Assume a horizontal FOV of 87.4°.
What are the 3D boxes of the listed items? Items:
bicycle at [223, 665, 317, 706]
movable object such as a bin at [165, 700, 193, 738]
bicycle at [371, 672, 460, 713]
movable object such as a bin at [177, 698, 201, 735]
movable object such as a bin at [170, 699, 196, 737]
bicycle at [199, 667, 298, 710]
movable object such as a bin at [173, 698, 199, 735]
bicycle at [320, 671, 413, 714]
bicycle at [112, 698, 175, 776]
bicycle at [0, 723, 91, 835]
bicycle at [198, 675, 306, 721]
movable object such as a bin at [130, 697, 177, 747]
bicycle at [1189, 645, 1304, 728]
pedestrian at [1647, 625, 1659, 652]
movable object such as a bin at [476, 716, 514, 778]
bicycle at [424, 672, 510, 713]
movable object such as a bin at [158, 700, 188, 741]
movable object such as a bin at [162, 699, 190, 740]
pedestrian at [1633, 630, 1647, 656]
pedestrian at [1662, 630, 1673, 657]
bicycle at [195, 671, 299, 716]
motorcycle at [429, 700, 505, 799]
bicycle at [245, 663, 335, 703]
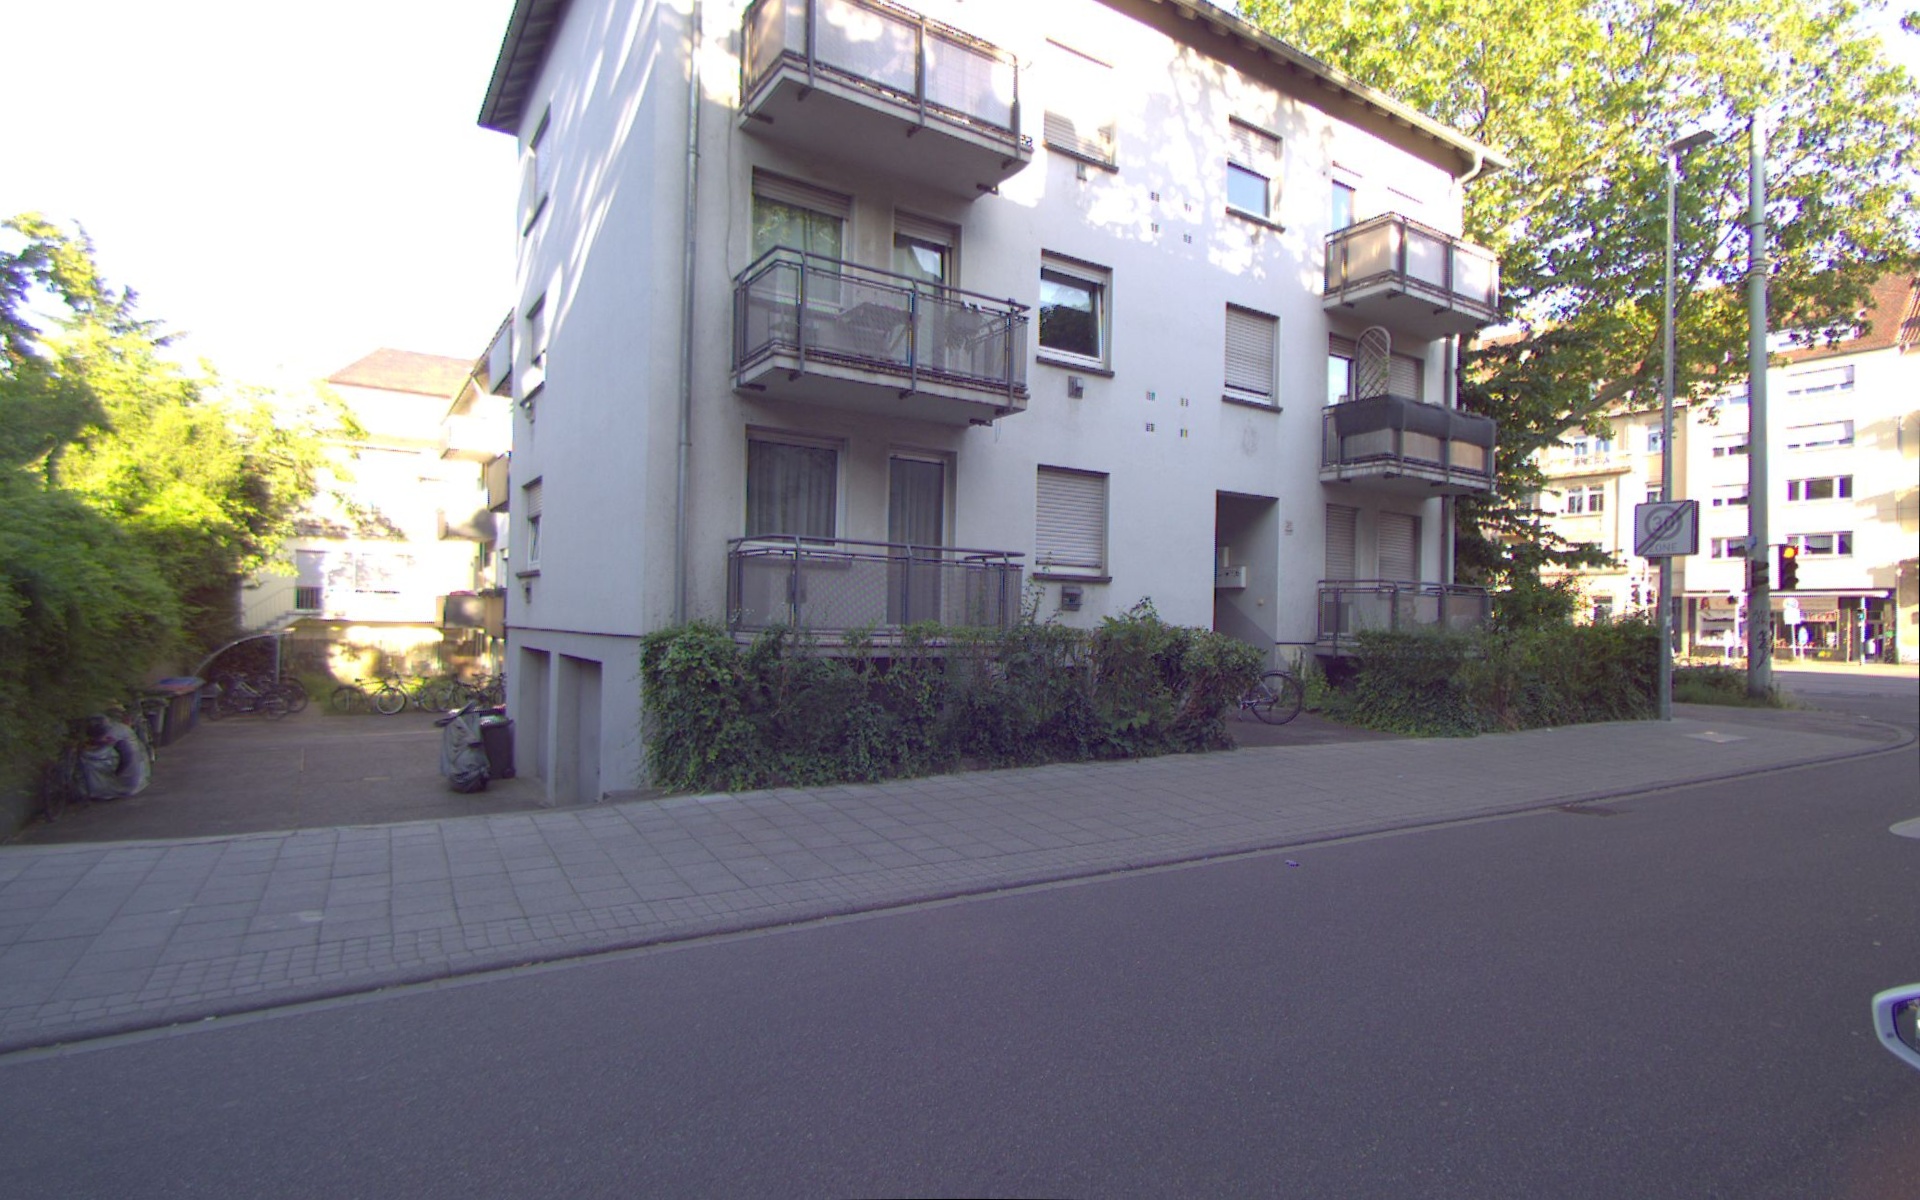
[{"bbox_3d":[-18.993,2.357,27.699,2.045,1.034,0.611,4,0,-30],"label":"bicycle"},{"bbox_3d":[-16.023,2.436,20.607,0.371,0.768,0.361,2,-4,-30],"label":"movable object such as a bin"},{"bbox_3d":[-14.728,2.508,27.205,2.045,1.034,0.637,4,0,-30],"label":"bicycle"},{"bbox_3d":[-16.602,2.498,21.630,0.342,0.768,0.361,2,-4,-30],"label":"movable object such as a bin"},{"bbox_3d":[-16.207,2.449,20.951,0.362,0.768,0.361,2,-4,-30],"label":"movable object such as a bin"},{"bbox_3d":[-18.858,2.356,26.661,2.045,1.034,0.611,4,0,-30],"label":"bicycle"},{"bbox_3d":[-16.401,2.461,21.292,0.362,0.768,0.361,2,-4,-30],"label":"movable object such as a bin"},{"bbox_3d":[-15.691,2.451,26.619,2.045,1.034,0.637,4,0,-30],"label":"bicycle"},{"bbox_3d":[-13.219,2.183,16.300,0.509,1.033,1.922,3,-1,-32],"label":"bicycle"},{"bbox_3d":[-11.007,2.100,12.065,0.509,1.033,1.922,3,-1,-32],"label":"bicycle"},{"bbox_3d":[-17.274,2.393,24.557,2.045,1.034,0.637,4,0,-30],"label":"bicycle"},{"bbox_3d":[-14.948,2.250,18.628,0.570,0.891,0.491,2,-4,-30],"label":"movable object such as a bin"},{"bbox_3d":[3.885,1.151,13.620,1.433,0.988,0.407,3,0,21],"label":"bicycle"},{"bbox_3d":[40.337,2.243,58.464,0.558,1.531,0.499,0,-1,41],"label":"pedestrian"},{"bbox_3d":[-7.499,2.359,16.189,0.428,0.899,0.720,1,-2,-34],"label":"movable object such as a bin"},{"bbox_3d":[-13.653,2.572,27.834,2.045,1.034,0.637,4,0,-30],"label":"bicycle"},{"bbox_3d":[-15.625,2.379,19.937,0.393,0.784,0.361,2,-4,-30],"label":"movable object such as a bin"},{"bbox_3d":[-15.824,2.404,20.271,0.377,0.784,0.361,2,-4,-30],"label":"movable object such as a bin"},{"bbox_3d":[40.932,2.561,60.468,0.526,1.531,0.510,1,-1,18],"label":"pedestrian"},{"bbox_3d":[41.408,2.534,58.766,0.467,1.531,0.429,0,-1,41],"label":"pedestrian"},{"bbox_3d":[-18.025,2.375,25.435,2.045,1.034,0.568,4,0,-30],"label":"bicycle"},{"bbox_3d":[-7.396,2.195,15.030,0.751,1.268,1.577,1,-2,-36],"label":"motorcycle"},{"bbox_3d":[-19.016,2.360,28.571,2.045,1.034,0.564,4,0,-30],"label":"bicycle"}]
